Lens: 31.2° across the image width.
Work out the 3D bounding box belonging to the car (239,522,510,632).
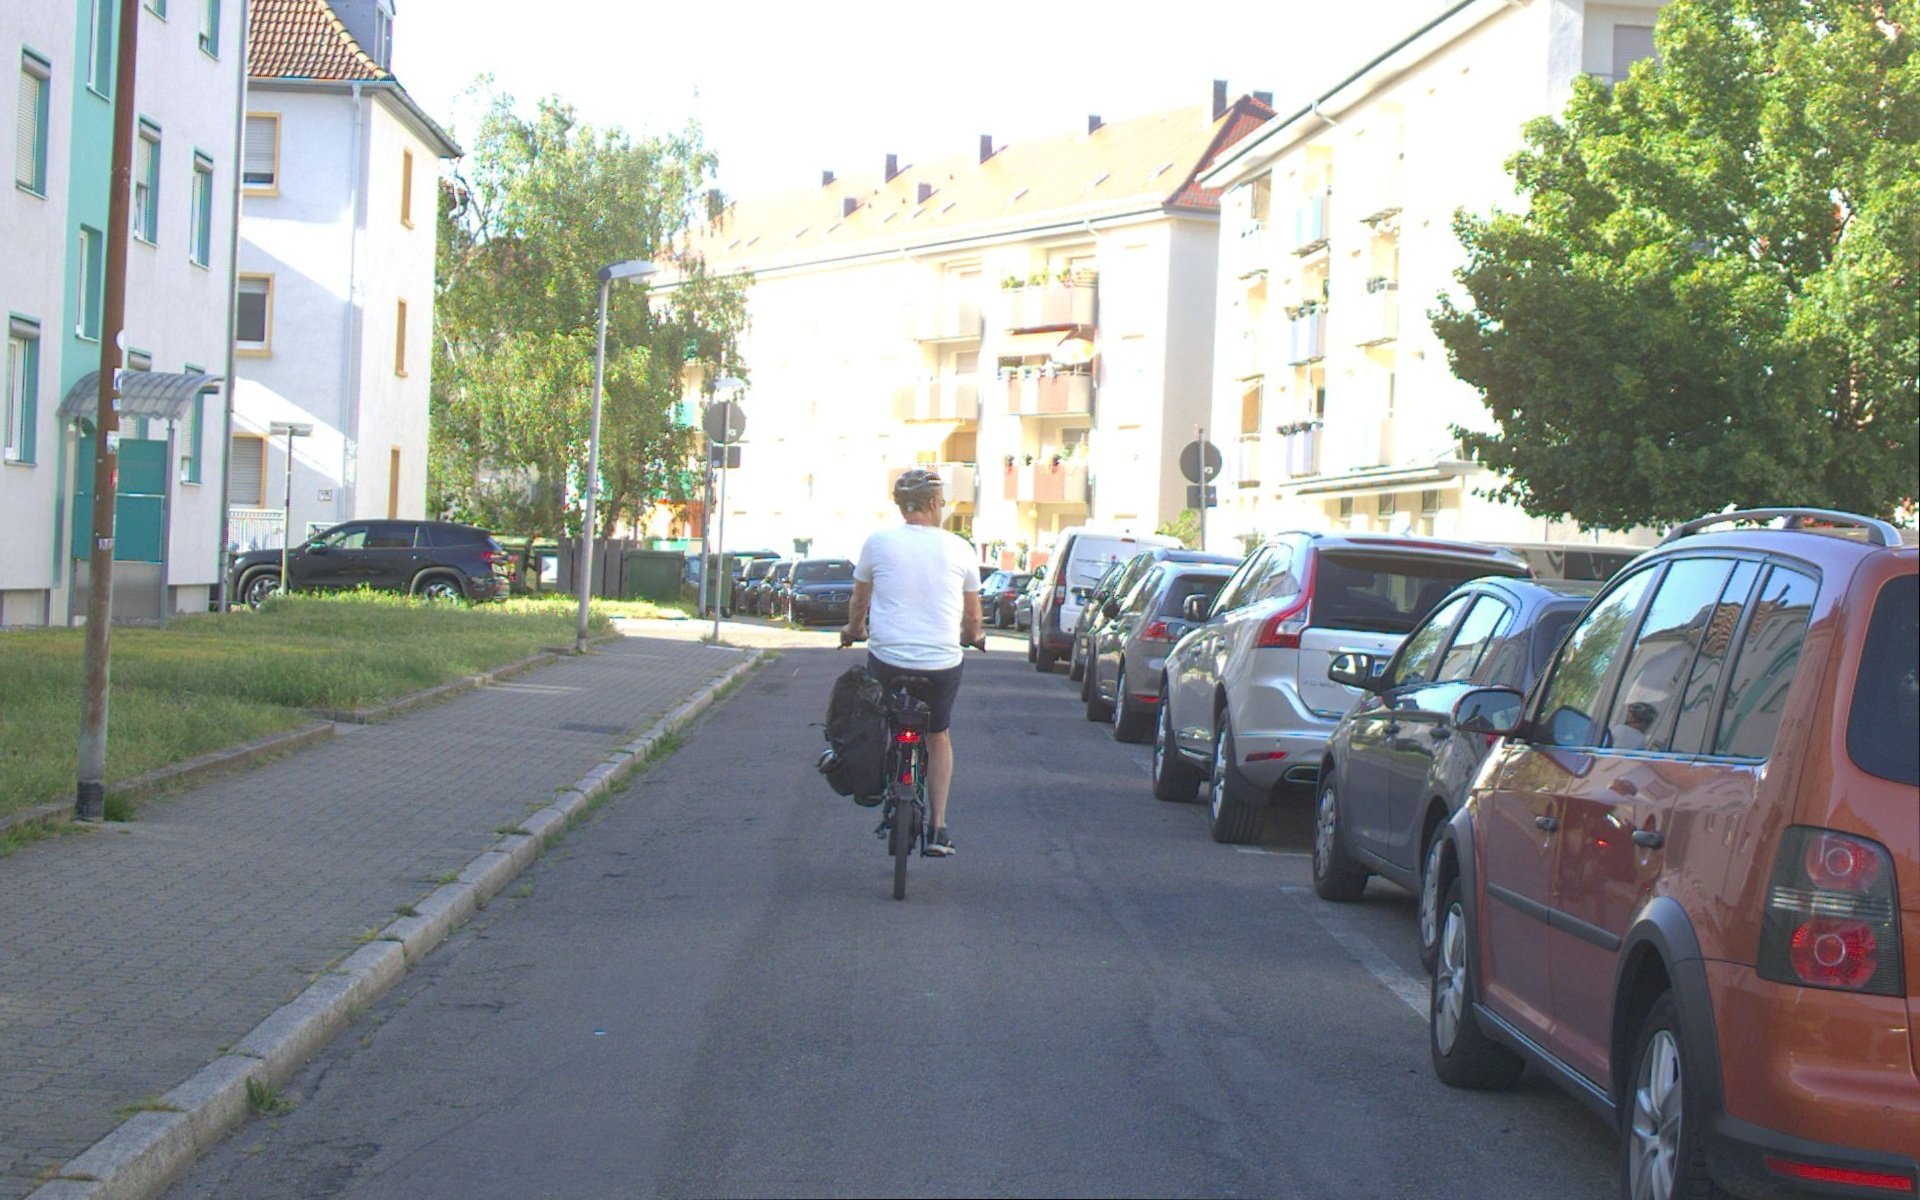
[{"bbox_3d":[-9.600,-0.390,56.607,4.230,1.633,1.583,2,1,-5],"label":"car"}]

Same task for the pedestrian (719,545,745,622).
[{"bbox_3d":[-4.750,-0.342,71.529,0.434,1.569,0.543,3,1,-1],"label":"pedestrian"}]

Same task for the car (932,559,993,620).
[{"bbox_3d":[0.065,-0.298,91.816,1.381,1.492,3.077,3,1,-3],"label":"car"}]

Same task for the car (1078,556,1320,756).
[{"bbox_3d":[1.889,0.405,28.182,1.559,1.406,3.934,3,1,-1],"label":"car"}]

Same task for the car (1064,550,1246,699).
[{"bbox_3d":[2.093,0.237,37.726,1.558,1.448,3.367,3,1,-3],"label":"car"}]

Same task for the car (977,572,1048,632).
[{"bbox_3d":[1.287,0.034,85.047,1.469,1.331,3.141,3,1,-3],"label":"car"}]

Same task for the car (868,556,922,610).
[{"bbox_3d":[-1.981,-0.529,104.573,1.469,1.511,3.077,3,1,-3],"label":"car"}]

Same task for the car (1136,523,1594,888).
[{"bbox_3d":[2.085,0.469,18.928,1.700,1.665,4.380,4,1,-3],"label":"car"}]

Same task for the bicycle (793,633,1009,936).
[{"bbox_3d":[-0.286,0.742,14.687,0.808,1.124,2.102,1,1,-3],"label":"bicycle"}]

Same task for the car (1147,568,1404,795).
[{"bbox_3d":[2.174,0.524,24.330,1.391,1.398,3.244,3,1,-1],"label":"car"}]

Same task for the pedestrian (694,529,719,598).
[{"bbox_3d":[-5.268,-0.759,71.530,0.434,1.422,0.543,2,1,-1],"label":"pedestrian"}]

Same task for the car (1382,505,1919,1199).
[{"bbox_3d":[2.304,0.687,8.343,1.861,1.662,4.127,4,1,-1],"label":"car"}]

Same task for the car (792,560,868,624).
[{"bbox_3d":[-2.861,-0.187,75.438,1.469,1.331,3.141,-1,1,-5],"label":"car"}]

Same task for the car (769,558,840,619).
[{"bbox_3d":[-3.624,-0.289,79.802,1.469,1.331,3.141,-1,1,-5],"label":"car"}]

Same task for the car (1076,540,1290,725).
[{"bbox_3d":[2.067,0.264,32.689,1.558,1.571,3.367,3,1,-3],"label":"car"}]

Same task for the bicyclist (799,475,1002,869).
[{"bbox_3d":[-0.270,0.296,14.886,0.808,1.638,0.899,1,1,-3],"label":"bicyclist"}]

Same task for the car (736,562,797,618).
[{"bbox_3d":[-4.871,-0.260,86.437,1.469,1.331,3.141,-1,1,-4],"label":"car"}]

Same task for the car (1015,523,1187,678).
[{"bbox_3d":[1.691,-0.039,42.431,1.674,1.733,3.943,3,1,-3],"label":"car"}]

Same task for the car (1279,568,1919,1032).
[{"bbox_3d":[2.453,0.690,14.000,1.617,1.455,3.842,5,1,-4],"label":"car"}]
